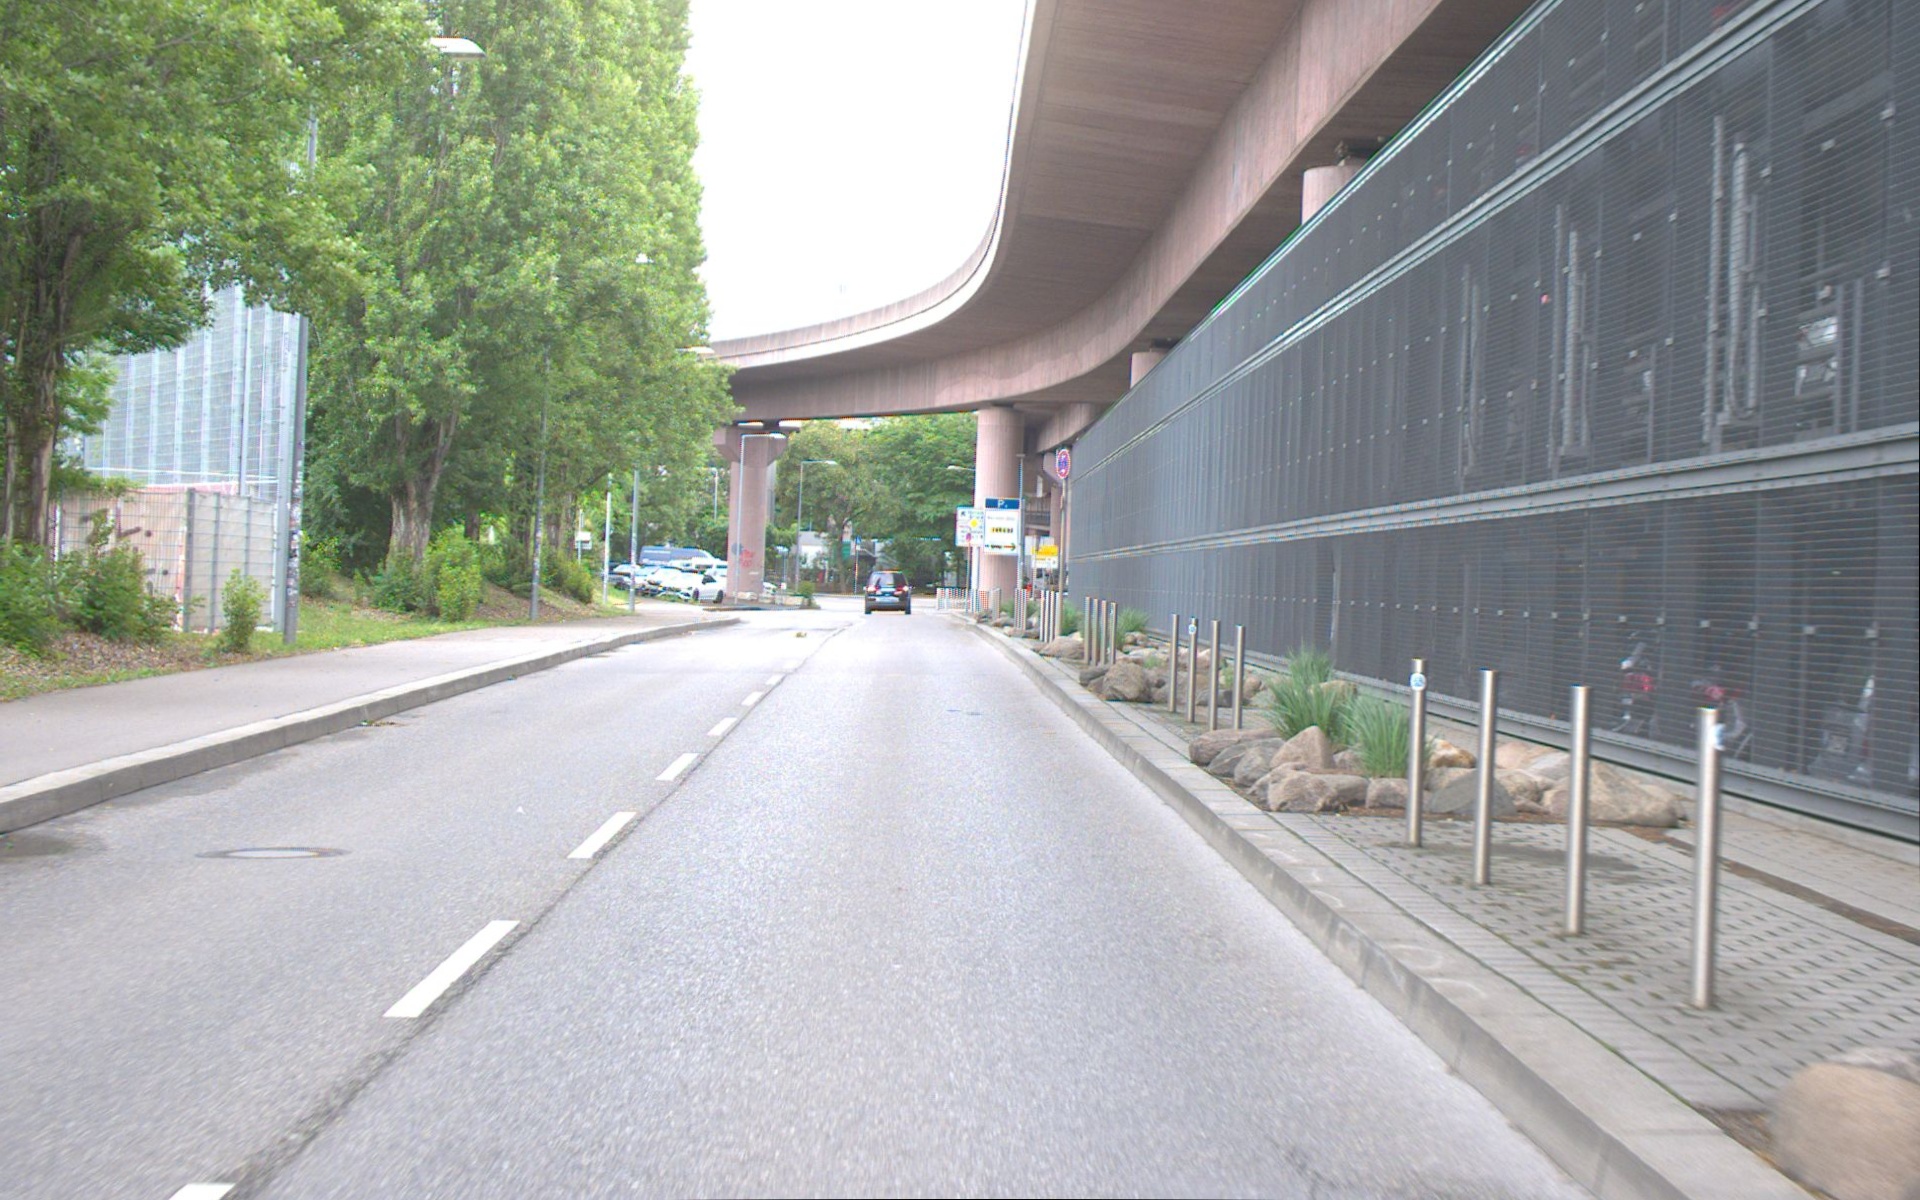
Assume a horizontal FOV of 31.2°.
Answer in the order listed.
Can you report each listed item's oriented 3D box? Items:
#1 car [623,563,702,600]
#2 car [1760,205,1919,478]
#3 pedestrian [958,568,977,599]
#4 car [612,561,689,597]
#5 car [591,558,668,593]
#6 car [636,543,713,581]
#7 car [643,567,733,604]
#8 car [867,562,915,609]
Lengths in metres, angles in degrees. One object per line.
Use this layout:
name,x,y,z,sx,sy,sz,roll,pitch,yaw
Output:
car,-14.695,-0.927,170.027,1.724,1.711,3.664,3,2,41
car,7.375,-1.583,22.126,3.987,1.651,1.832,2,2,2
pedestrian,0.469,-1.049,215.290,0.769,1.870,0.824,1,2,-31
car,-15.598,-1.069,173.265,1.724,1.711,3.664,3,2,41
car,-16.983,-1.256,176.523,1.806,1.711,3.664,3,2,41
car,-16.338,-2.162,196.870,4.213,2.007,2.000,2,0,-2
car,-13.096,-0.711,165.655,1.884,1.711,4.143,3,2,40
car,-2.757,-0.596,138.238,1.839,1.705,3.706,2,2,-1
